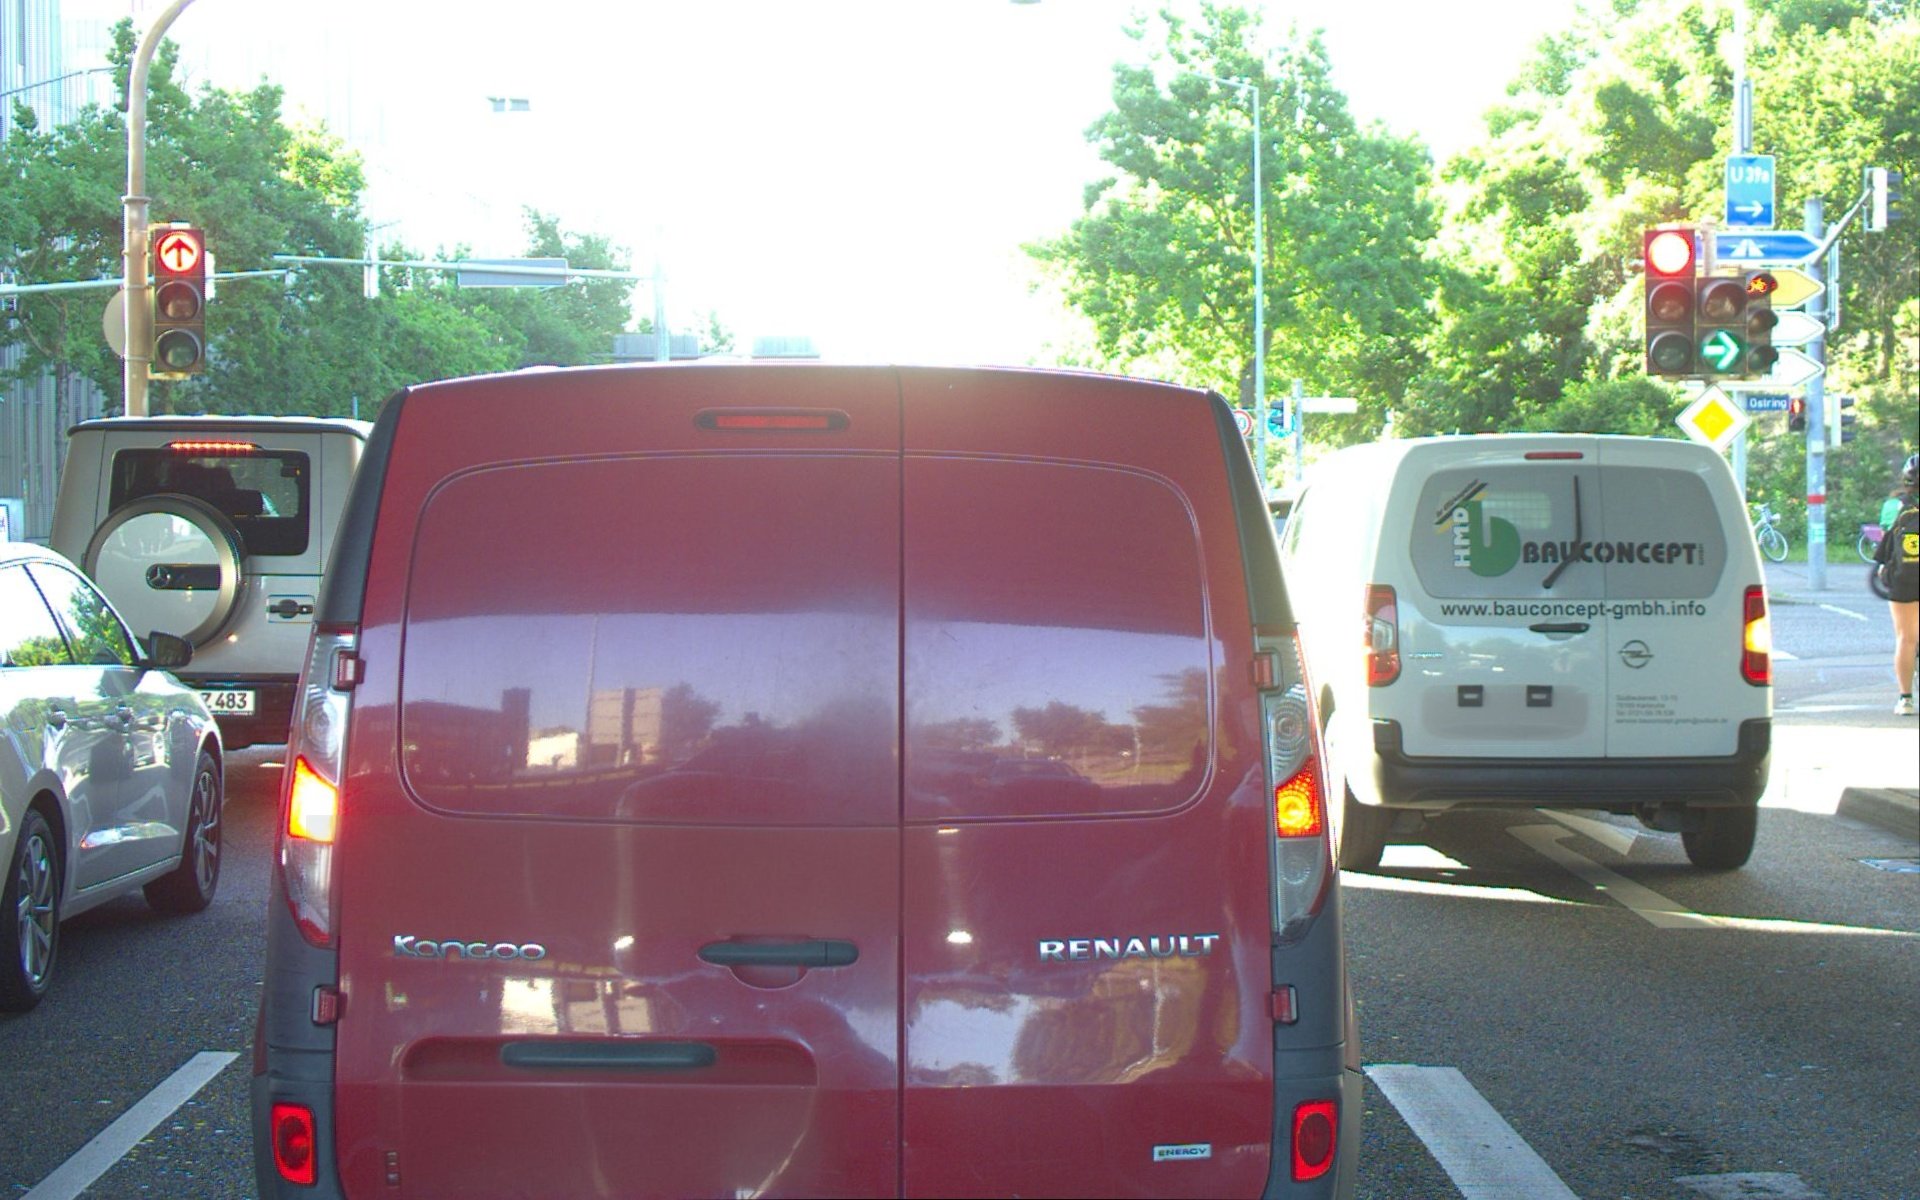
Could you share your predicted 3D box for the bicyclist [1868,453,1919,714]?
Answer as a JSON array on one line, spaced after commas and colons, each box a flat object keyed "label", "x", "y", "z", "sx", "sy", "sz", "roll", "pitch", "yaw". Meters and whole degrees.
[{"label": "bicyclist", "x": 6.131, "y": -0.103, "z": 21.715, "sx": 0.677, "sy": 1.623, "sz": 0.644, "roll": 1, "pitch": 0, "yaw": 10}]

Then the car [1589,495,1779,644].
[{"label": "car", "x": 7.549, "y": -0.343, "z": 35.859, "sx": 1.838, "sy": 1.459, "sz": 3.886, "roll": 0, "pitch": 1, "yaw": 12}]

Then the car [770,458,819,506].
[{"label": "car", "x": -7.417, "y": -5.288, "z": 154.316, "sx": 1.993, "sy": 2.007, "sz": 4.000, "roll": 1, "pitch": 1, "yaw": -1}]

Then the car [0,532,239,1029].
[{"label": "car", "x": -3.622, "y": 0.479, "z": 11.481, "sx": 1.692, "sy": 1.405, "sz": 3.814, "roll": 1, "pitch": 1, "yaw": -1}]

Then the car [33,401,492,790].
[{"label": "car", "x": -3.700, "y": -0.058, "z": 18.870, "sx": 1.813, "sy": 1.897, "sz": 3.814, "roll": 1, "pitch": 1, "yaw": -1}]

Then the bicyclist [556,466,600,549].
[{"label": "bicyclist", "x": -7.132, "y": -1.730, "z": 64.215, "sx": 0.755, "sy": 1.537, "sz": 0.697, "roll": 0, "pitch": 1, "yaw": 0}]

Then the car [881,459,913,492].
[{"label": "car", "x": -4.059, "y": -7.979, "z": 220.548, "sx": 1.993, "sy": 2.007, "sz": 4.000, "roll": 1, "pitch": 1, "yaw": -1}]

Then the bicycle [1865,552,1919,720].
[{"label": "bicycle", "x": 6.115, "y": 0.216, "z": 21.624, "sx": 0.677, "sy": 1.020, "sz": 1.528, "roll": 1, "pitch": 1, "yaw": 10}]

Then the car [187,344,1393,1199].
[{"label": "car", "x": -0.271, "y": 0.482, "z": 6.949, "sx": 1.719, "sy": 1.758, "sz": 4.000, "roll": 1, "pitch": 1, "yaw": -1}]

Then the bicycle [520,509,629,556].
[{"label": "bicycle", "x": -7.200, "y": -1.255, "z": 64.219, "sx": 1.953, "sy": 0.871, "sz": 0.699, "roll": 0, "pitch": 1, "yaw": 0}]

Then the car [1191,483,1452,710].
[{"label": "car", "x": 2.872, "y": -0.073, "z": 28.079, "sx": 1.778, "sy": 1.650, "sz": 3.990, "roll": 2, "pitch": 1, "yaw": 2}]

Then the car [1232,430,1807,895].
[{"label": "car", "x": 2.392, "y": 0.178, "z": 15.799, "sx": 1.813, "sy": 1.827, "sz": 4.301, "roll": 1, "pitch": 2, "yaw": -1}]
